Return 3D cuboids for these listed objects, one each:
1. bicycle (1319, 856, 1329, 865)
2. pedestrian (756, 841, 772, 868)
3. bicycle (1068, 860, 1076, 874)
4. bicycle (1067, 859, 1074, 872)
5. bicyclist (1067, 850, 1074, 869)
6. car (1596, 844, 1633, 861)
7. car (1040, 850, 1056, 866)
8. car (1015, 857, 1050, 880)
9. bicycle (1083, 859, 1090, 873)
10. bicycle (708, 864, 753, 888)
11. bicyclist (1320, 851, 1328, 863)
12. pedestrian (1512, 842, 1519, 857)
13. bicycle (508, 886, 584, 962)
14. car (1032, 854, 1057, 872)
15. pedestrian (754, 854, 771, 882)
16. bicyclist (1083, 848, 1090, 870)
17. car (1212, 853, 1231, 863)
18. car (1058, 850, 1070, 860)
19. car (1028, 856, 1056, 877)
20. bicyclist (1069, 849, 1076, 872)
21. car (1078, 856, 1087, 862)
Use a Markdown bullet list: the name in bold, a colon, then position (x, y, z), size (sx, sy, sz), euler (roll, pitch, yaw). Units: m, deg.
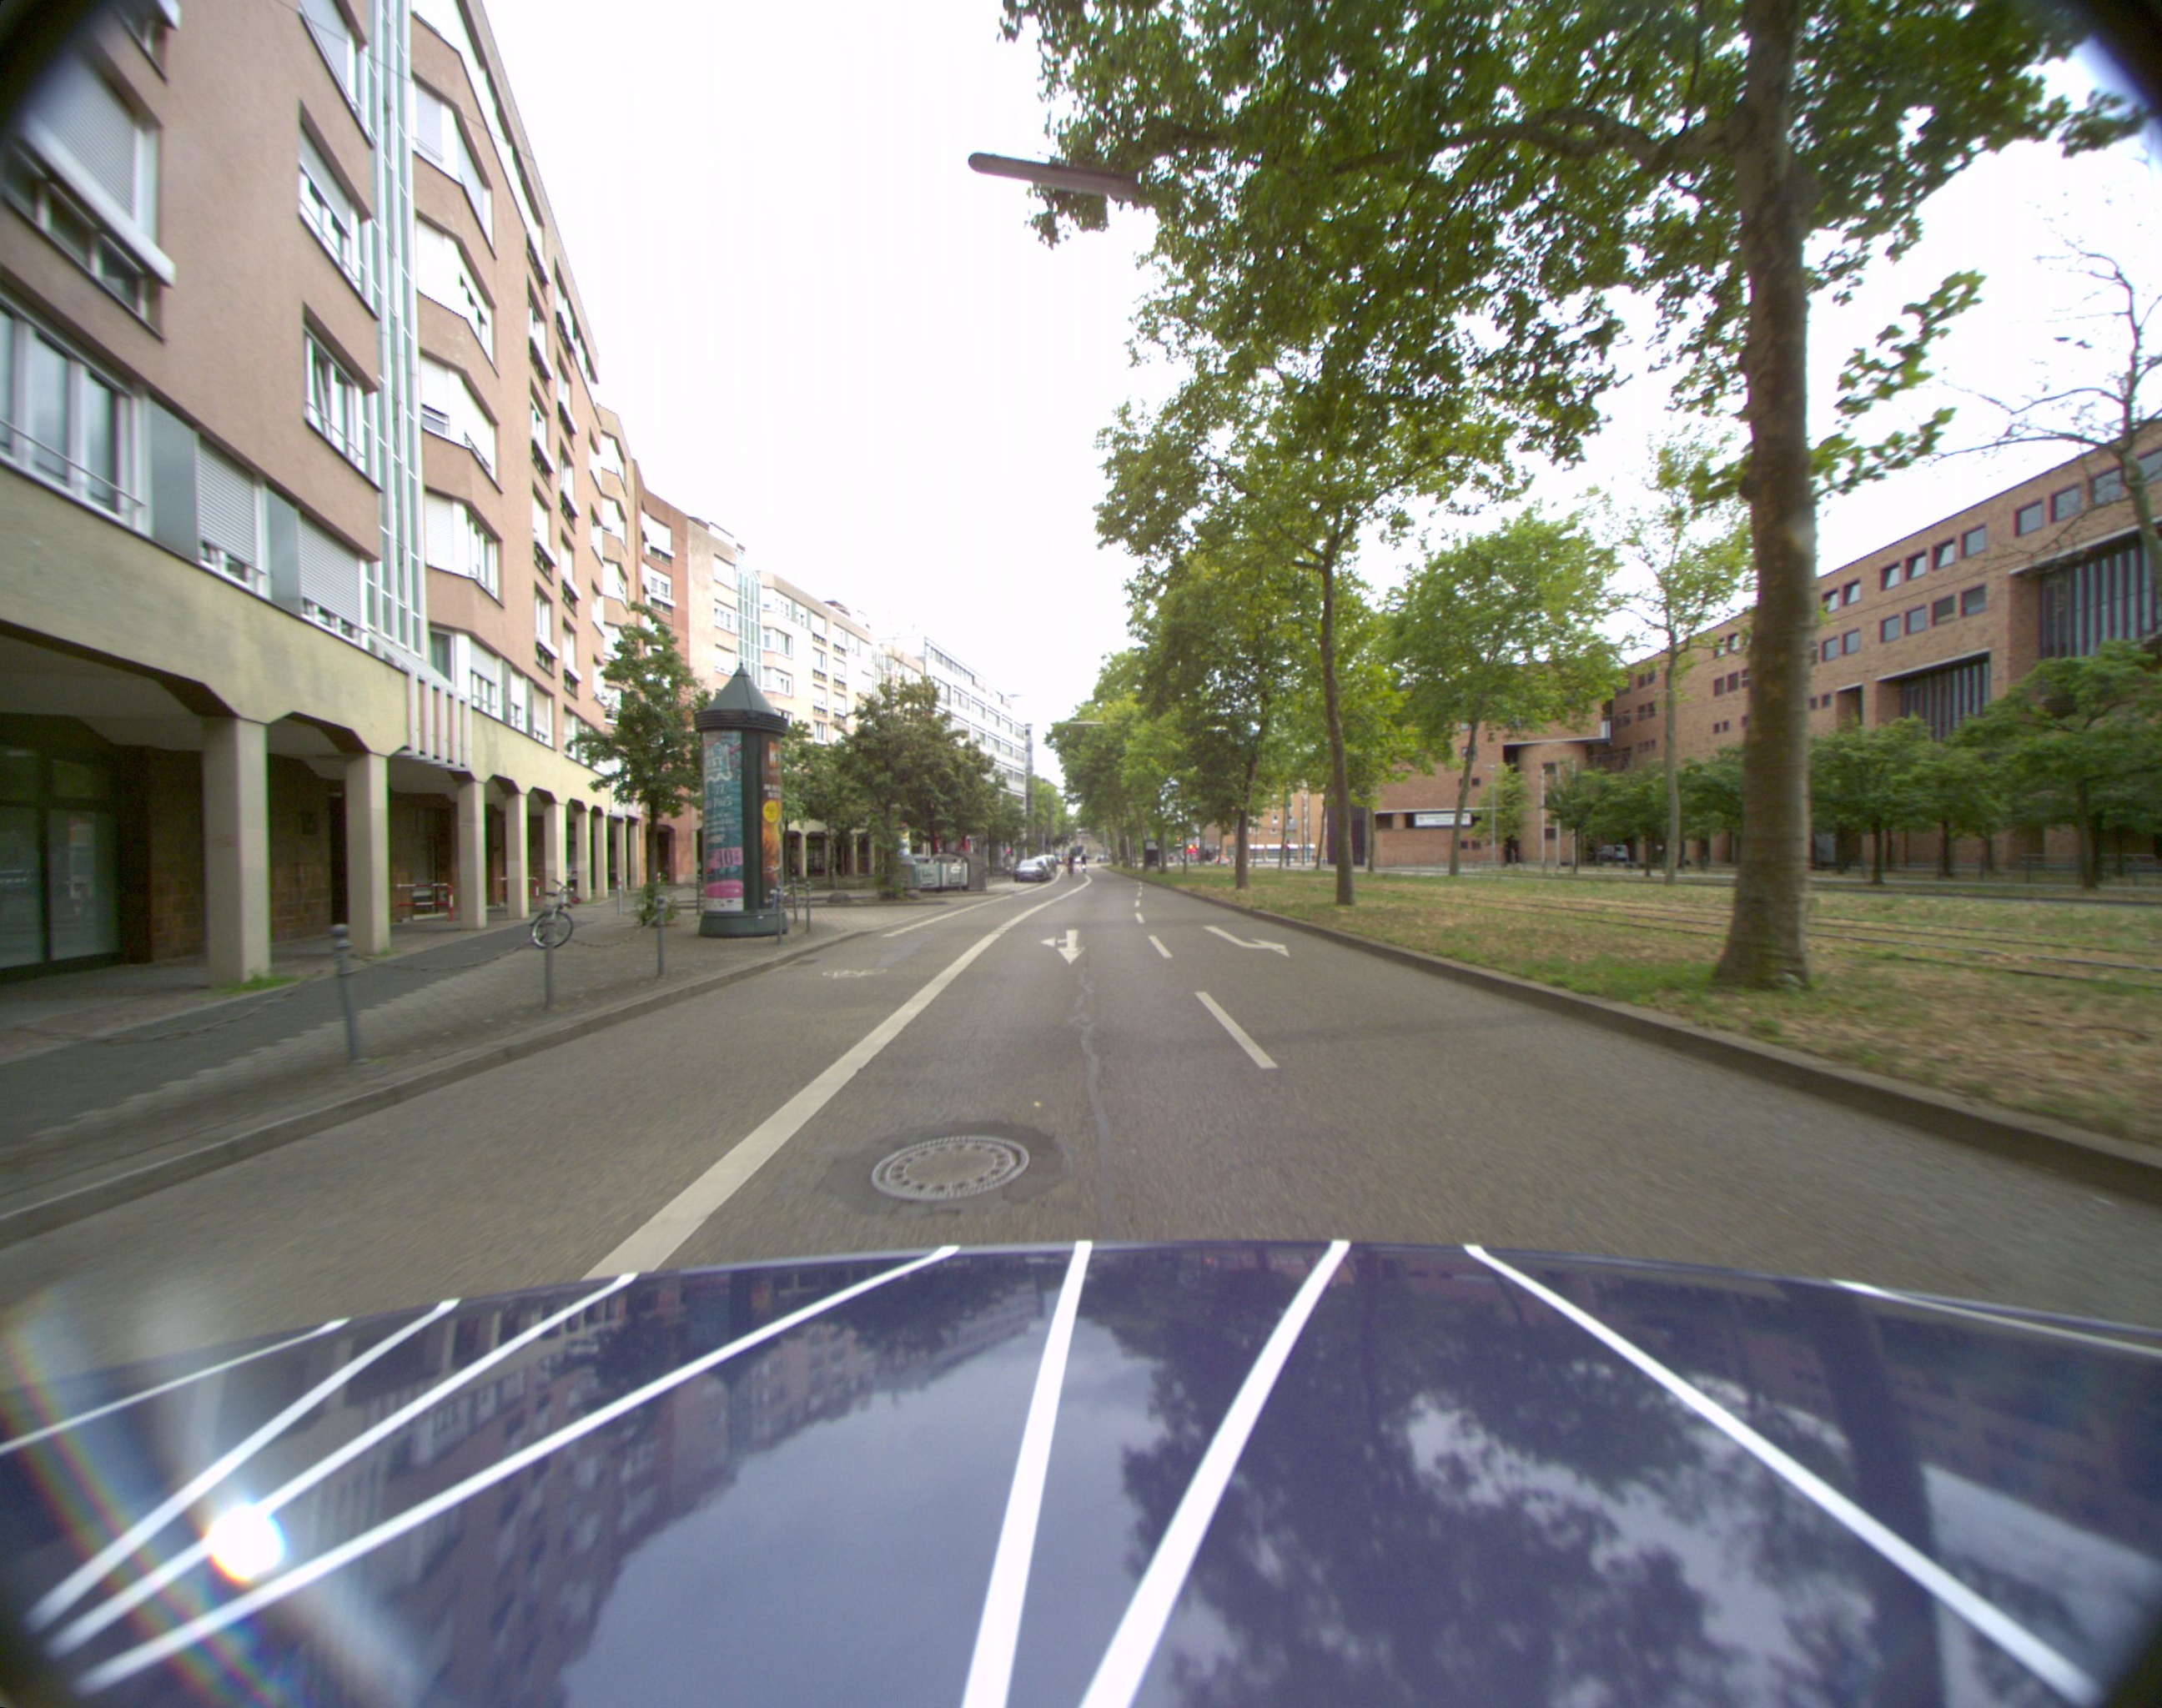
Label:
- **bicycle**: position (31.551, 0.812, 98.640), size (0.669, 1.078, 2.094), euler (-1, 0, 3)
- **pedestrian**: position (-19.879, 0.014, 47.673), size (0.606, 1.653, 0.682), euler (-1, 0, 9)
- **bicycle**: position (-0.671, 1.014, 59.954), size (0.595, 1.132, 2.091), euler (0, 0, 0)
- **bicycle**: position (-0.867, 0.991, 65.276), size (0.595, 1.132, 1.734), euler (0, 0, 0)
- **bicyclist**: position (-0.870, 0.499, 65.245), size (0.591, 1.644, 1.035), euler (0, 0, 0)
- **car**: position (58.455, -0.210, 83.338), size (1.896, 1.797, 4.003), euler (-1, 0, 11)
- **car**: position (-4.108, 0.453, 94.273), size (1.832, 1.853, 4.647), euler (1, 0, -3)
- **car**: position (-3.154, 0.915, 50.322), size (1.821, 1.434, 4.666), euler (1, 0, 2)
- **bicycle**: position (0.459, 0.984, 63.521), size (0.595, 1.132, 1.858), euler (0, 0, 0)
- **bicycle**: position (-17.588, 1.084, 38.156), size (1.968, 1.106, 0.595), euler (-1, 1, -45)
- **bicyclist**: position (31.543, 0.424, 98.569), size (0.665, 1.581, 0.984), euler (-1, 0, 3)
- **pedestrian**: position (44.129, -0.448, 77.118), size (0.508, 1.523, 0.521), euler (-1, 0, 15)
- **bicycle**: position (-9.063, 1.140, 12.857), size (1.660, 1.122, 0.672), euler (1, 1, 41)
- **car**: position (-3.387, 0.823, 71.197), size (1.865, 1.643, 4.164), euler (0, 0, 3)
- **pedestrian**: position (-19.406, 0.847, 46.252), size (0.534, 1.653, 0.852), euler (-1, 0, 12)
- **bicyclist**: position (0.460, 0.411, 63.593), size (0.591, 1.760, 1.035), euler (0, 0, 0)
- **car**: position (19.924, 0.579, 107.998), size (1.788, 1.413, 4.657), euler (0, 0, -2)
- **car**: position (-3.868, 0.230, 176.181), size (2.174, 2.441, 6.998), euler (-1, 0, 3)
- **car**: position (-2.837, 0.905, 56.198), size (1.744, 1.510, 4.401), euler (1, 0, 1)
- **bicyclist**: position (-0.666, 0.525, 60.007), size (0.591, 1.757, 1.035), euler (0, 0, 0)
- **car**: position (0.453, 1.225, 179.069), size (1.845, 1.369, 3.835), euler (-1, -1, 4)
